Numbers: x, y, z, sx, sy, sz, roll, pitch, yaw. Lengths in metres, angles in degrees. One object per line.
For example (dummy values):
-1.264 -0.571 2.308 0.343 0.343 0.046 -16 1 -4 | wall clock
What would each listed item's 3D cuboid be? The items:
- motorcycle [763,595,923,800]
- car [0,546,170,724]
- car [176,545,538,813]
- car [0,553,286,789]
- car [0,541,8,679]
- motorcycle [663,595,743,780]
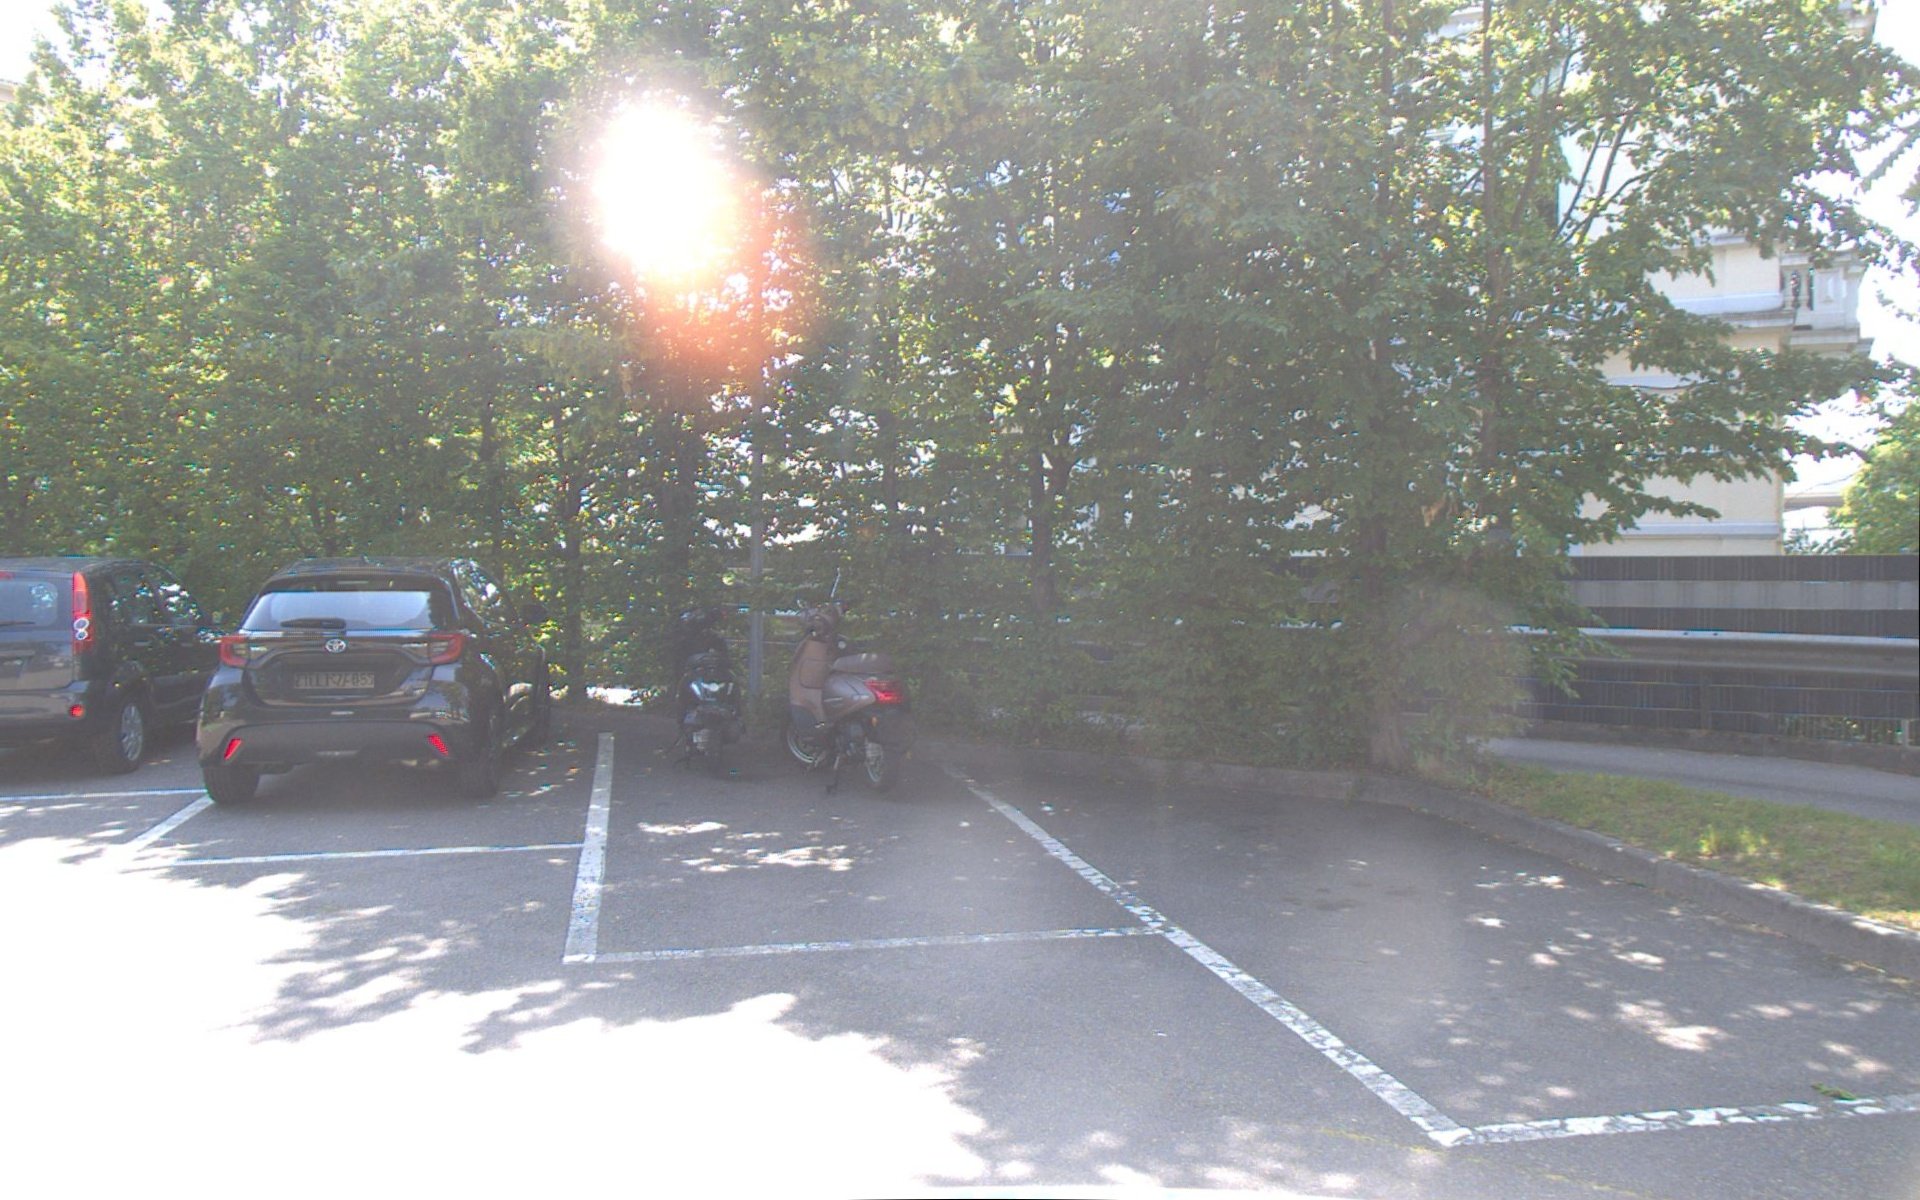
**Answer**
-0.783 0.575 10.657 0.560 1.189 1.595 -1 1 -22 | motorcycle
-9.278 0.264 15.814 1.733 1.495 3.998 -1 3 -4 | car
-4.001 0.390 11.604 1.625 1.495 3.897 -1 3 -9 | car
-6.647 0.410 12.685 1.666 1.478 3.996 -1 2 -6 | car
-11.835 0.184 17.296 1.734 1.599 3.996 0 2 -6 | car
-1.821 0.566 11.594 0.465 1.160 1.601 0 1 -12 | motorcycle
